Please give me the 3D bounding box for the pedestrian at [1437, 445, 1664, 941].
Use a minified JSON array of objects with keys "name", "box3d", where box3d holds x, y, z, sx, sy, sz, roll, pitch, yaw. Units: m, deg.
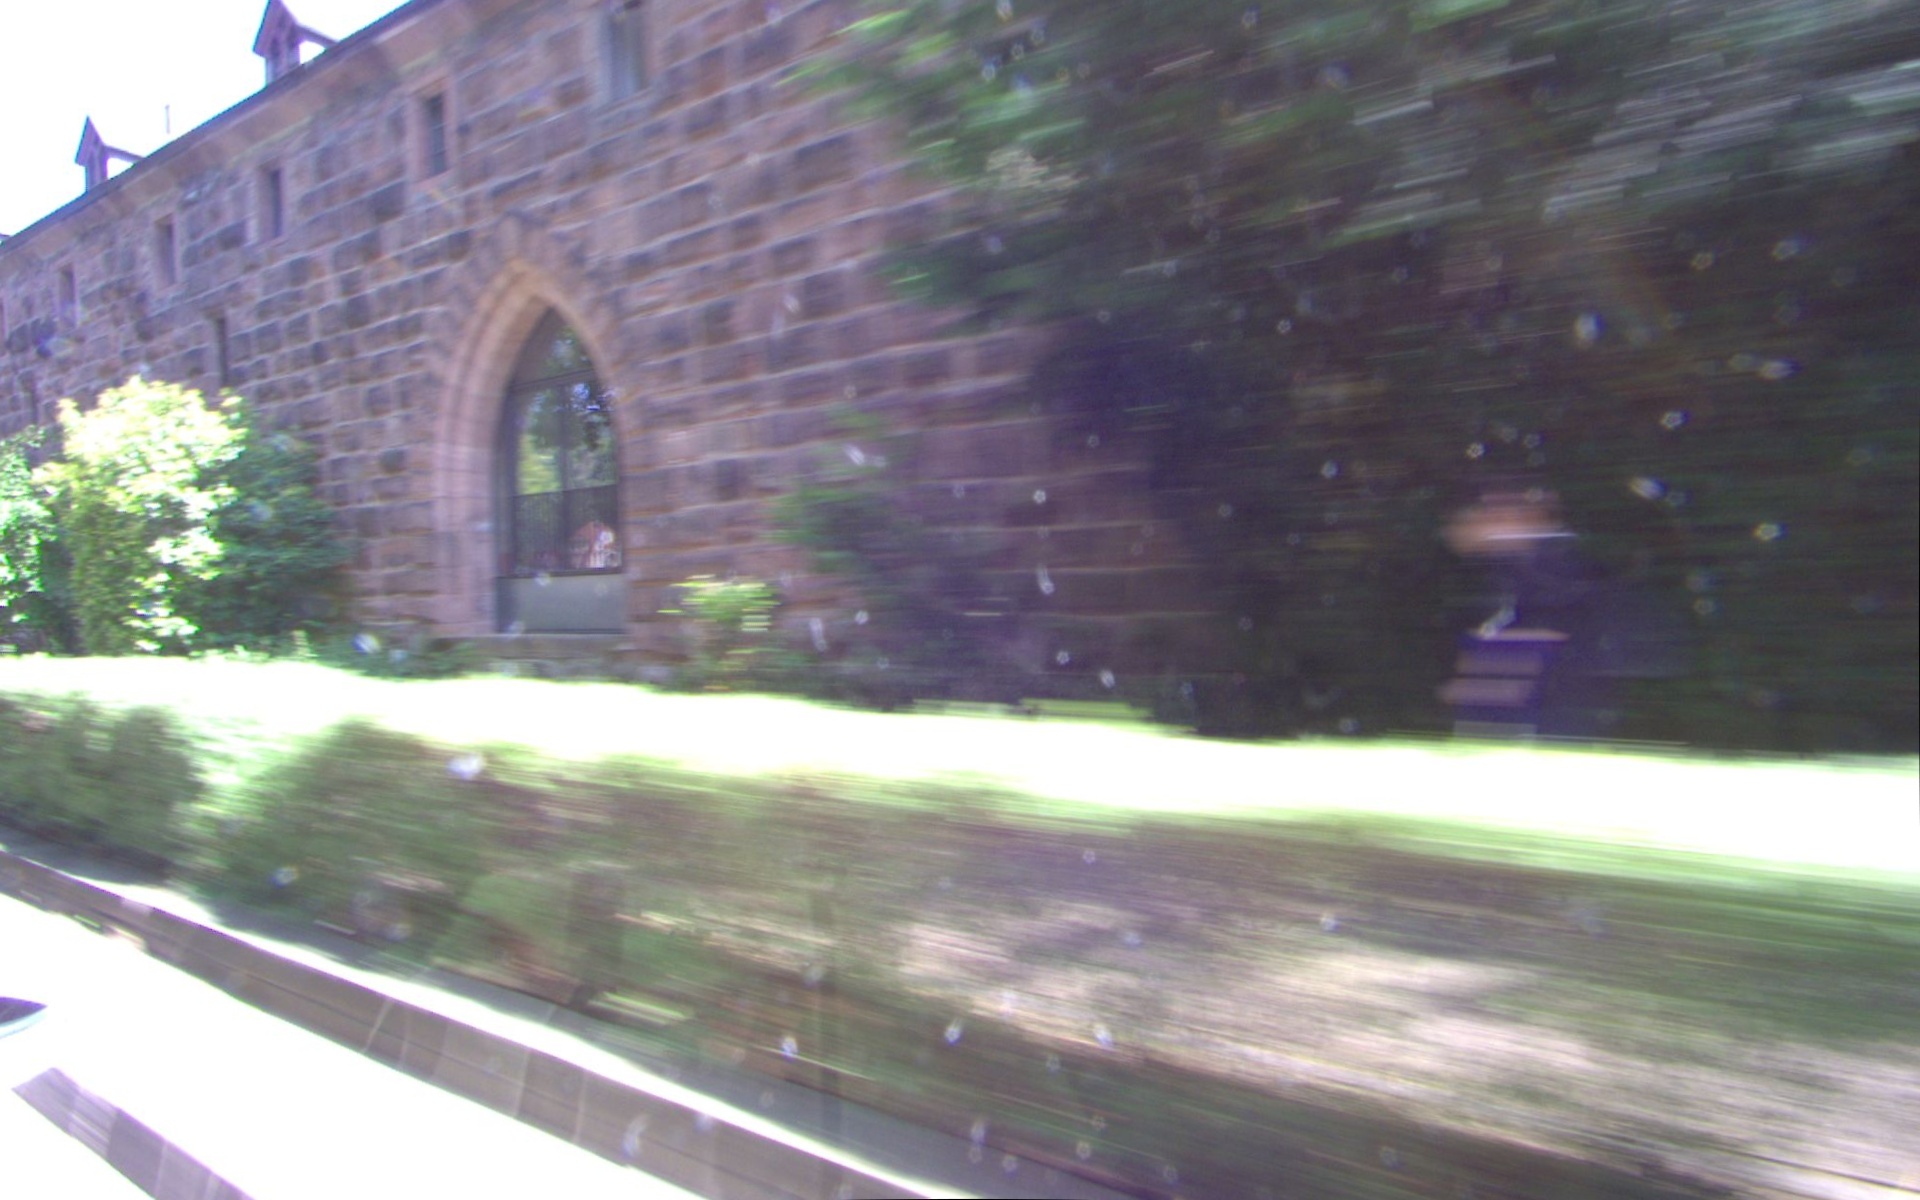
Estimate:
[{"name":"pedestrian","box3d":[2.283,0.313,3.857,0.695,1.675,0.696,0,2,35]}]
